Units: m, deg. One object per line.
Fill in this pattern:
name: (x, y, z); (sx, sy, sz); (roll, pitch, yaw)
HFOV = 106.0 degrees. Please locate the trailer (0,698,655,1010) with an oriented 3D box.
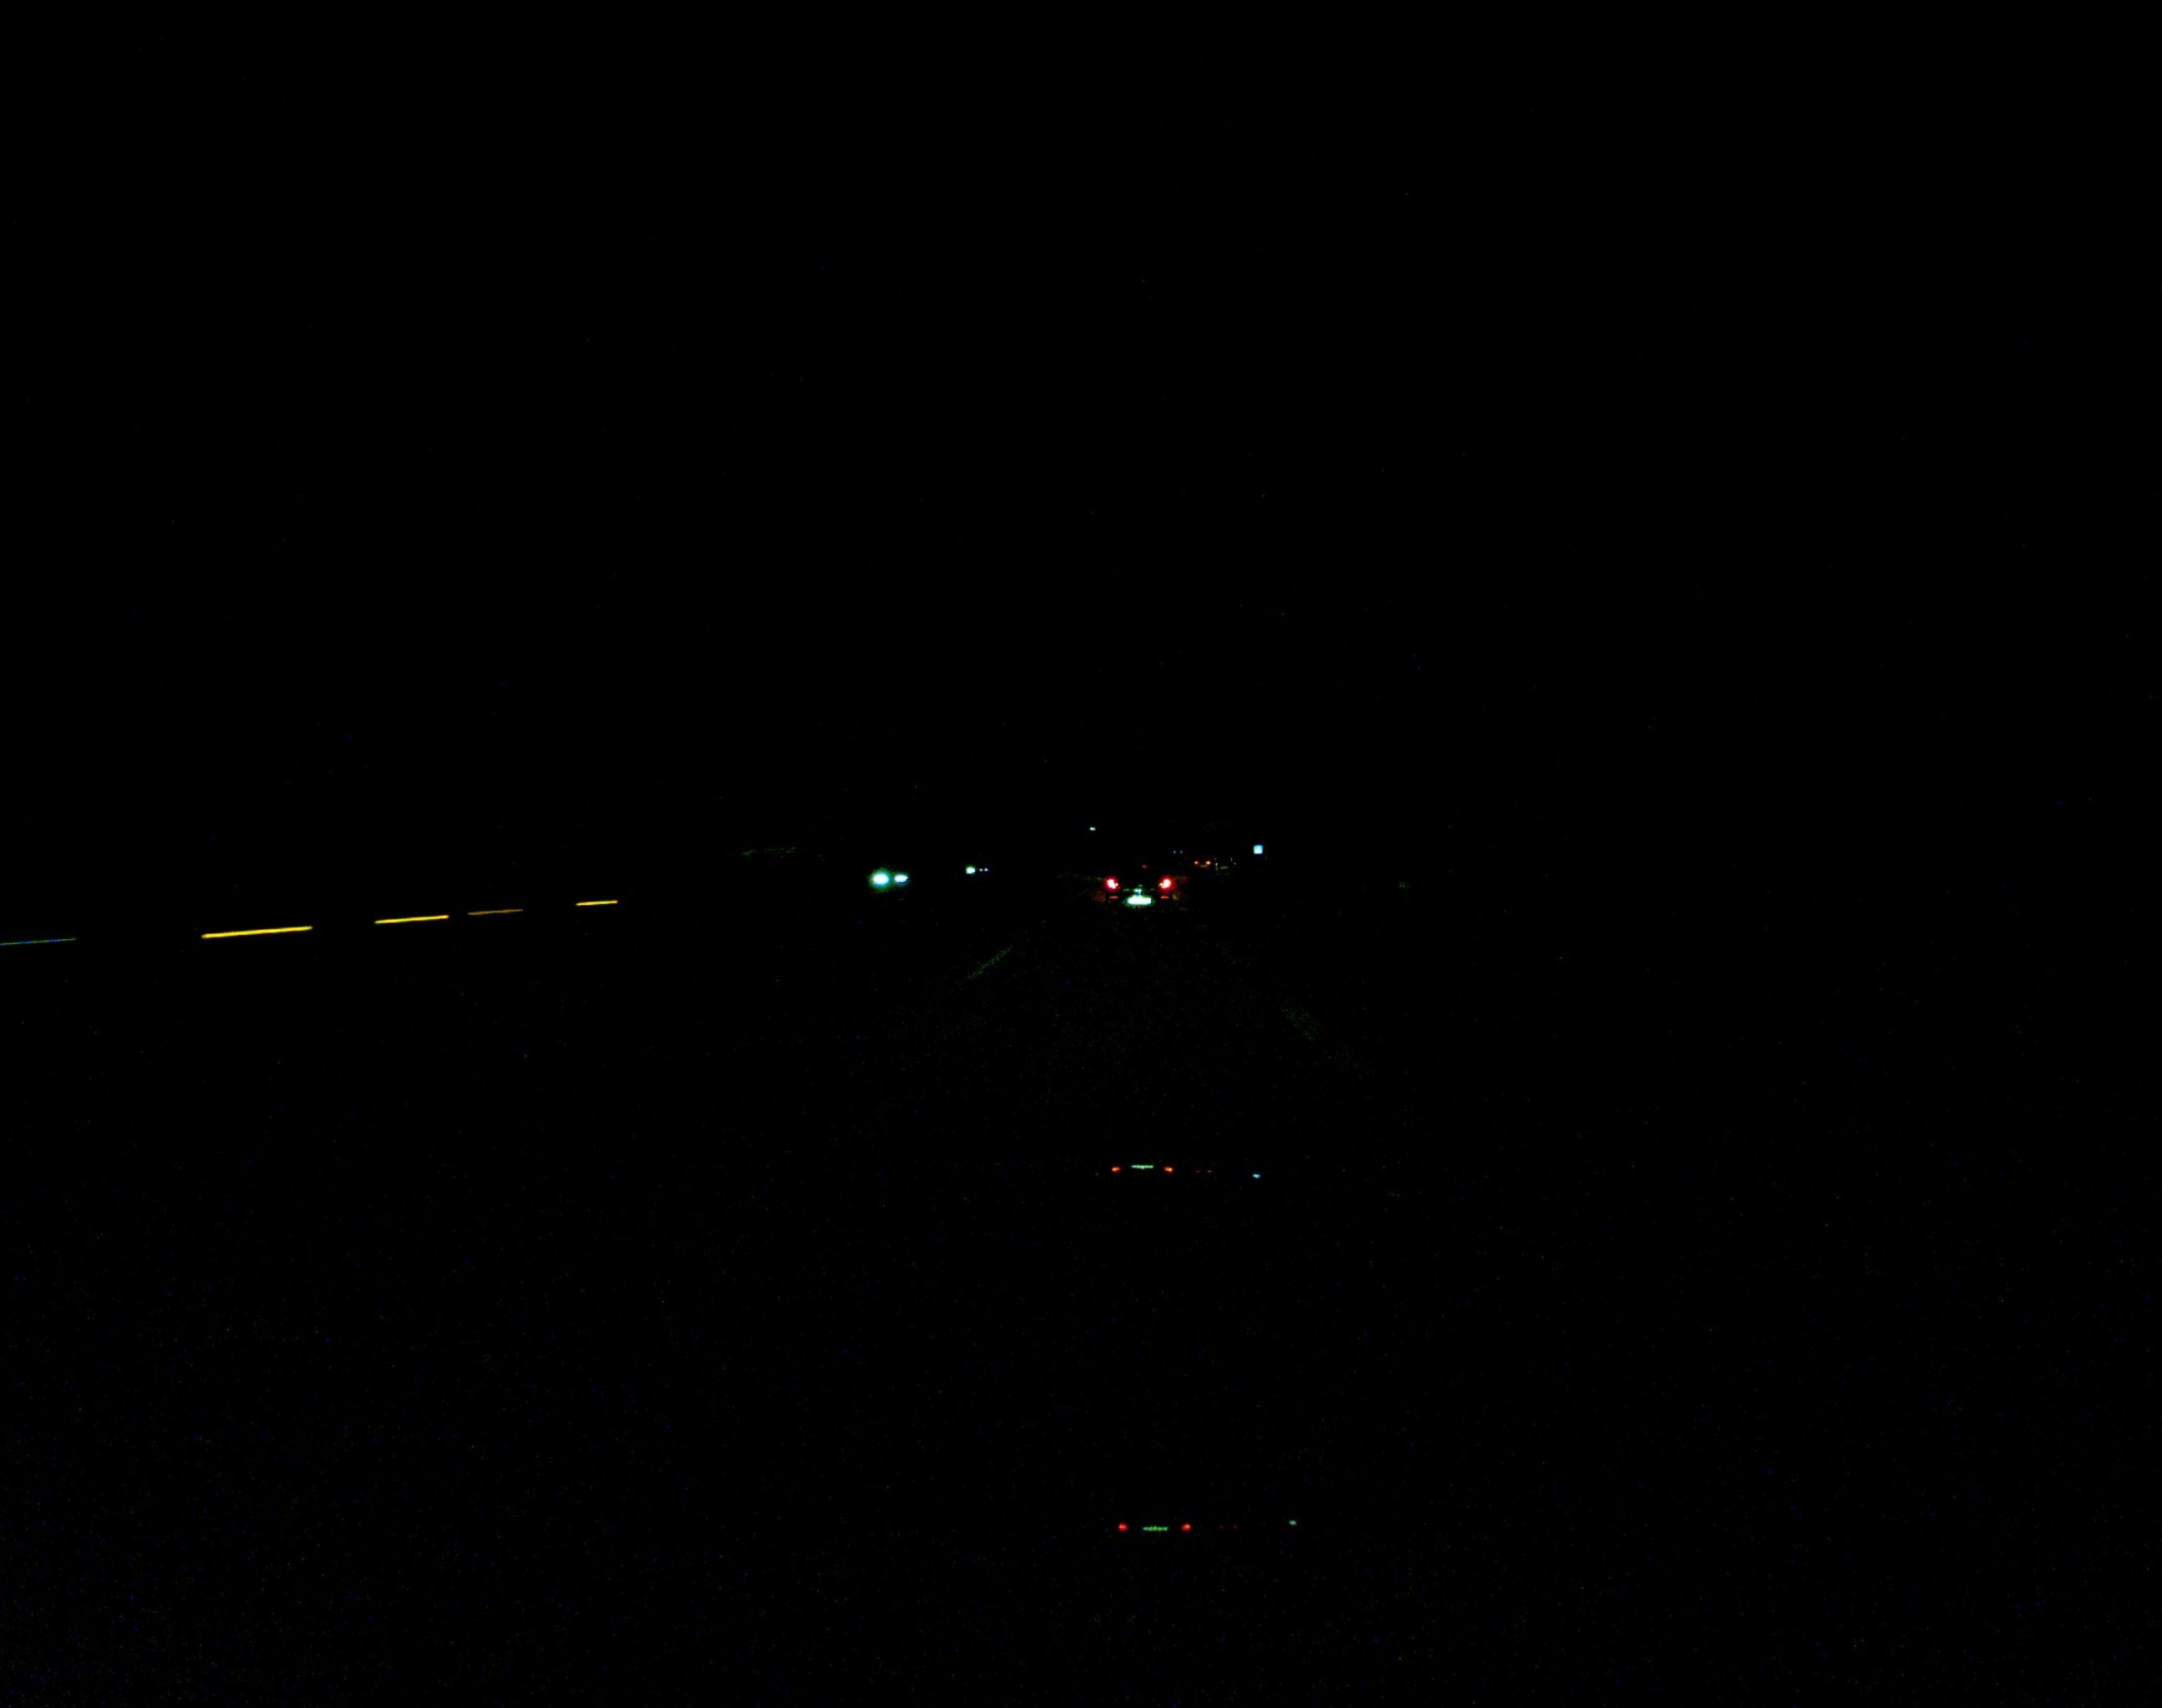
trailer: (-14.668, 0.021, 17.758); (2.664, 4.150, 13.759); (-2, 0, 4)

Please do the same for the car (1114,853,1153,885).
car: (2.792, 0.775, 43.886); (1.933, 1.608, 4.645); (-1, 0, 2)

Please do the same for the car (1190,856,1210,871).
car: (13.247, 1.083, 90.736); (1.727, 1.618, 3.798); (-1, -1, 0)

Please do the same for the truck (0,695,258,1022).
truck: (-15.119, 0.086, 10.551); (2.665, 4.177, 5.874); (-2, 0, 3)

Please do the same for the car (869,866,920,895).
car: (-11.684, 1.635, 51.320); (1.984, 1.684, 4.005); (-2, 0, 4)

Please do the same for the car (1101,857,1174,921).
car: (1.388, 0.825, 20.990); (1.685, 1.478, 4.002); (-1, 0, 2)
